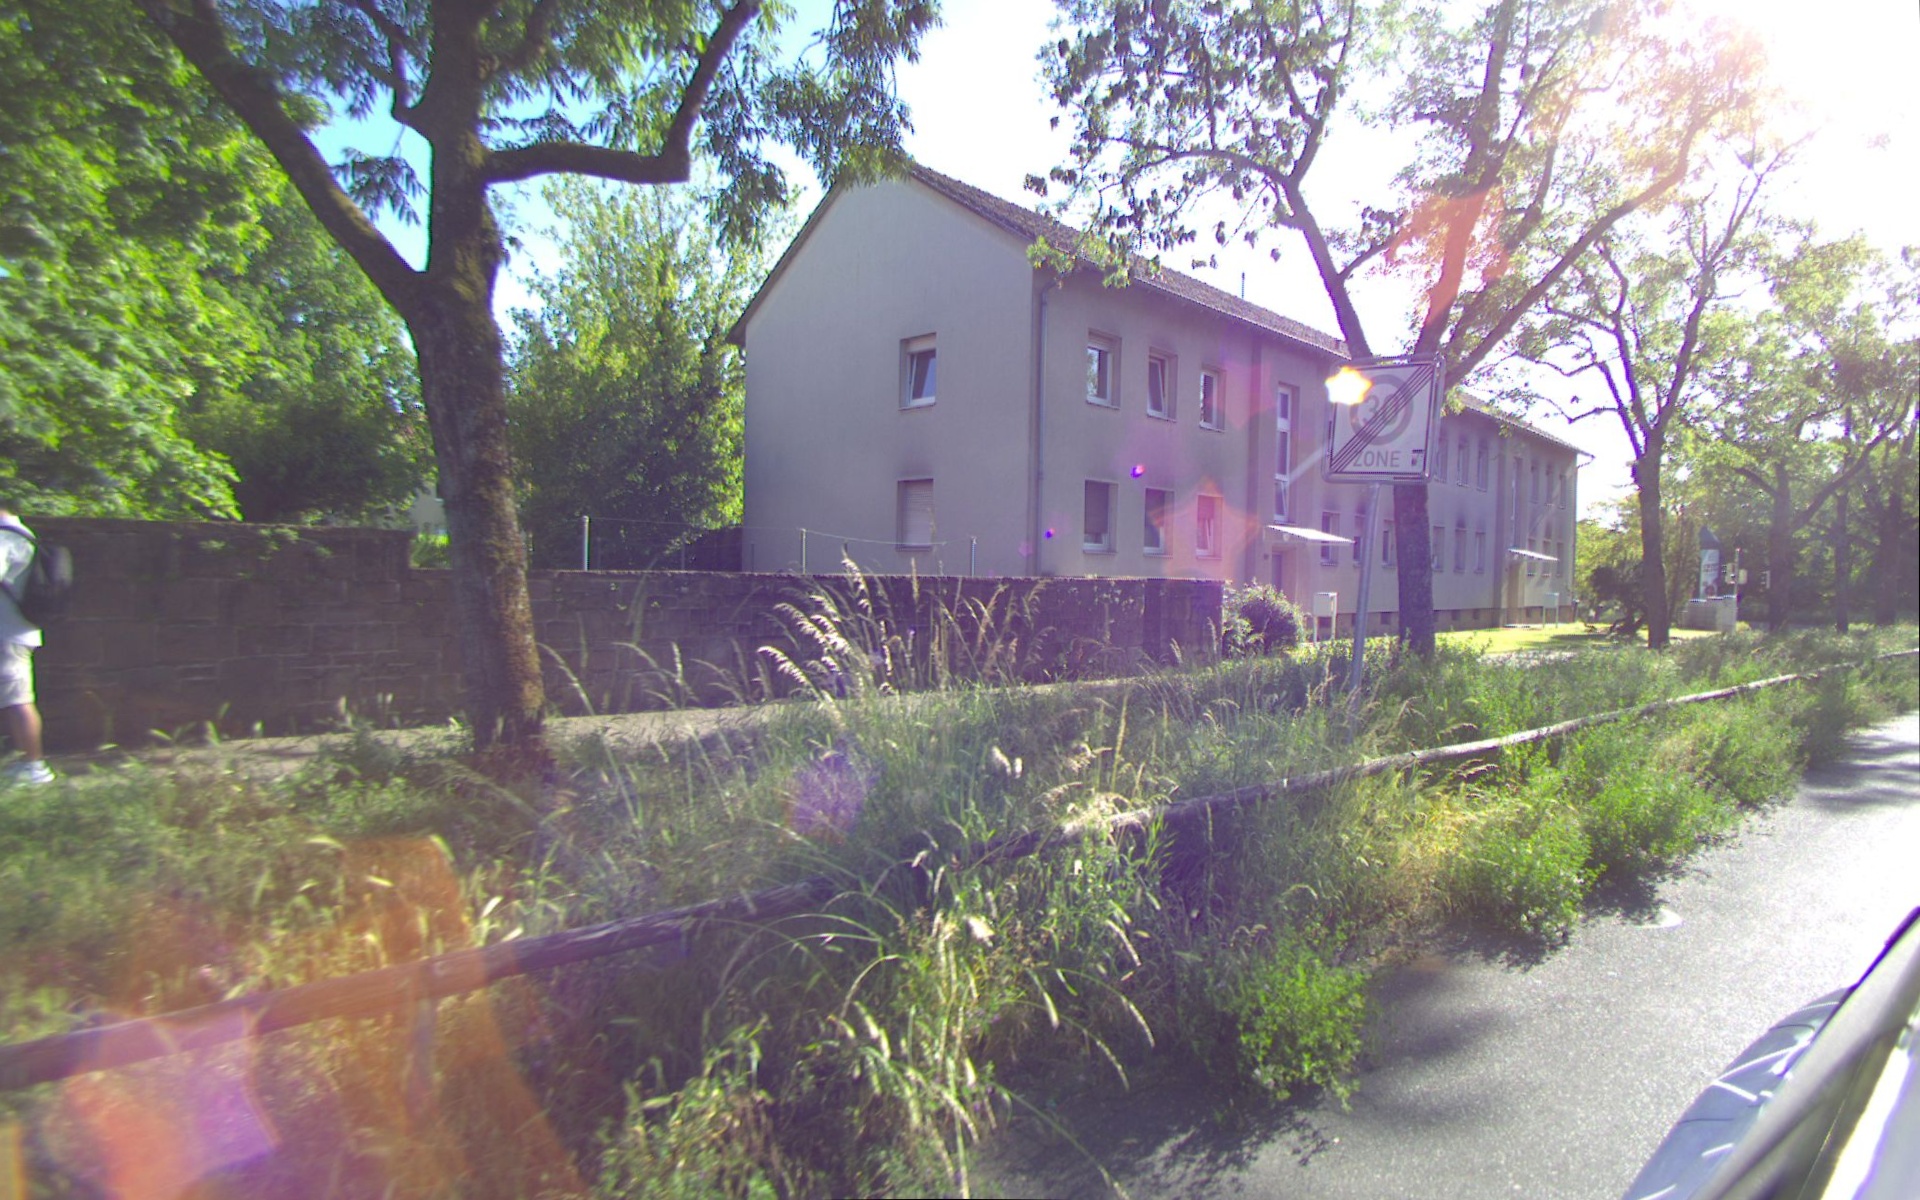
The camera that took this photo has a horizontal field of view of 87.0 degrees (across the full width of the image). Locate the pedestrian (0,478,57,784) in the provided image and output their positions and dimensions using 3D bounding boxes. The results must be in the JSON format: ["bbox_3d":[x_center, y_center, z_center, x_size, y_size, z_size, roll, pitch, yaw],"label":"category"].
[{"bbox_3d":[-5.663,0.153,5.865,0.601,1.726,0.638,1,3,-42],"label":"pedestrian"}]
